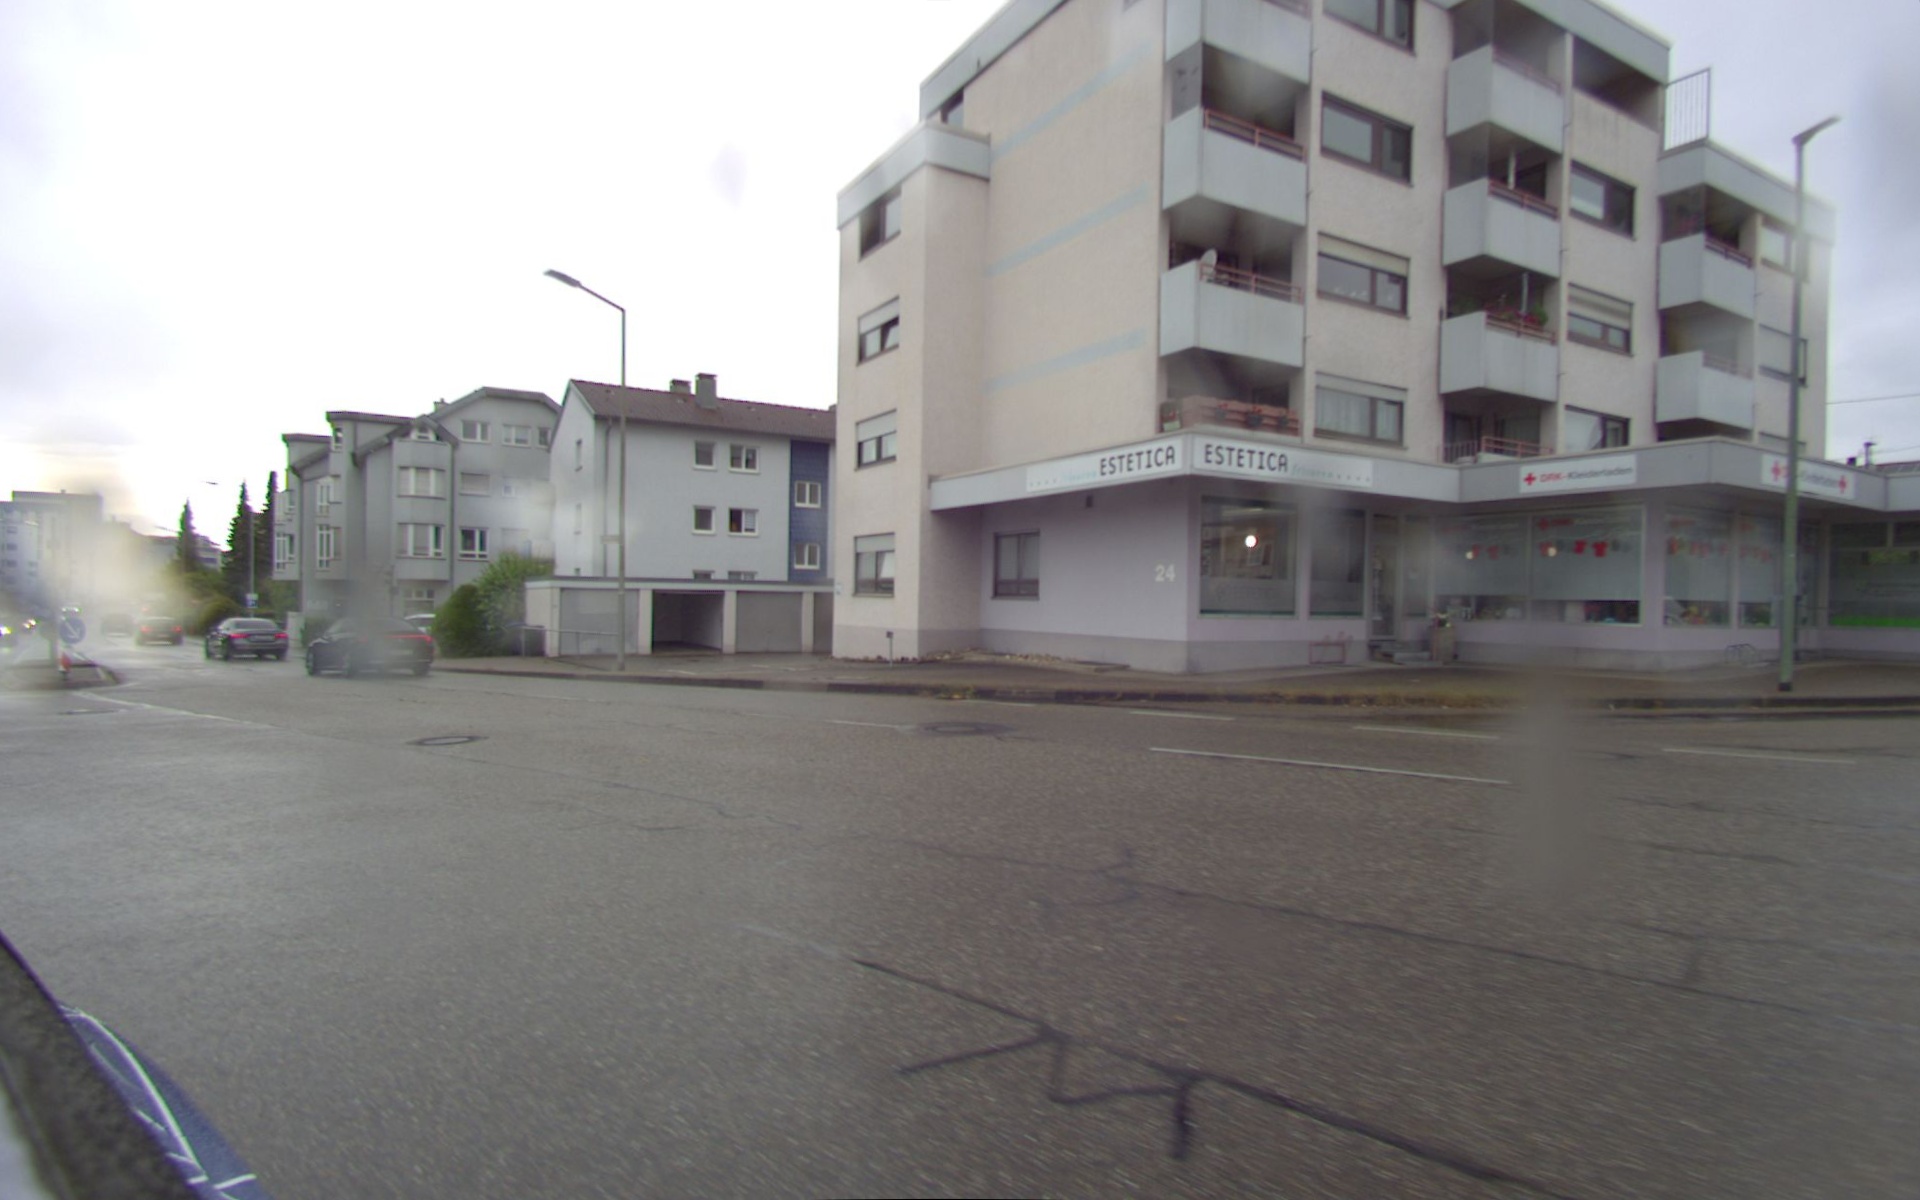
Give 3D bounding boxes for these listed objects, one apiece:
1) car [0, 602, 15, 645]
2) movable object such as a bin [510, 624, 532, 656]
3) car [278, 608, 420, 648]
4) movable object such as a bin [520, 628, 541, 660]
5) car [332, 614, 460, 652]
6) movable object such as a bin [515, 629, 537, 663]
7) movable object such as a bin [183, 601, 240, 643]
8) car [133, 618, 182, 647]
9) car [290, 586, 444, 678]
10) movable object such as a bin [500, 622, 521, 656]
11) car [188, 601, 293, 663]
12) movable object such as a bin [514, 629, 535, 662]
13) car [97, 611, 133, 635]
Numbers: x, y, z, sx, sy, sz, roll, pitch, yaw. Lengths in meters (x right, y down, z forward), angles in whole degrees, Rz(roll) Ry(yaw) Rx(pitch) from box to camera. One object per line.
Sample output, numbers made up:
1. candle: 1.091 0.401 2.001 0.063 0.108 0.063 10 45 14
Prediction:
1. car: -47.246 1.134 48.914 1.968 2.029 4.008 0 -1 -38
2. movable object such as a bin: -13.936 1.263 32.137 0.492 0.968 0.536 -4 3 -32
3. car: -27.991 1.243 46.446 5.390 1.697 2.153 0 -1 -37
4. movable object such as a bin: -13.022 1.329 30.669 0.492 0.968 0.603 0 -1 -32
5. car: -23.898 1.363 42.963 4.551 1.508 1.934 0 -1 -37
6. movable object such as a bin: -13.376 1.406 31.212 0.492 0.968 0.536 -4 3 -32
7. movable object such as a bin: -52.726 1.556 71.343 2.877 2.863 2.204 0 -1 -26
8. car: -42.583 1.698 53.665 1.766 1.483 4.168 0 -1 -43
9. car: -14.581 0.748 24.789 4.651 2.029 1.972 -1 -1 42
10. movable object such as a bin: -14.729 1.272 33.181 0.492 1.026 0.689 -4 3 -31
11. car: -26.082 1.140 36.564 5.981 2.029 2.066 -2 -1 44
12. movable object such as a bin: -13.640 1.406 31.694 0.492 0.968 0.536 -4 3 -32
13. car: -66.565 1.777 79.777 2.070 1.847 4.742 0 -1 -39
